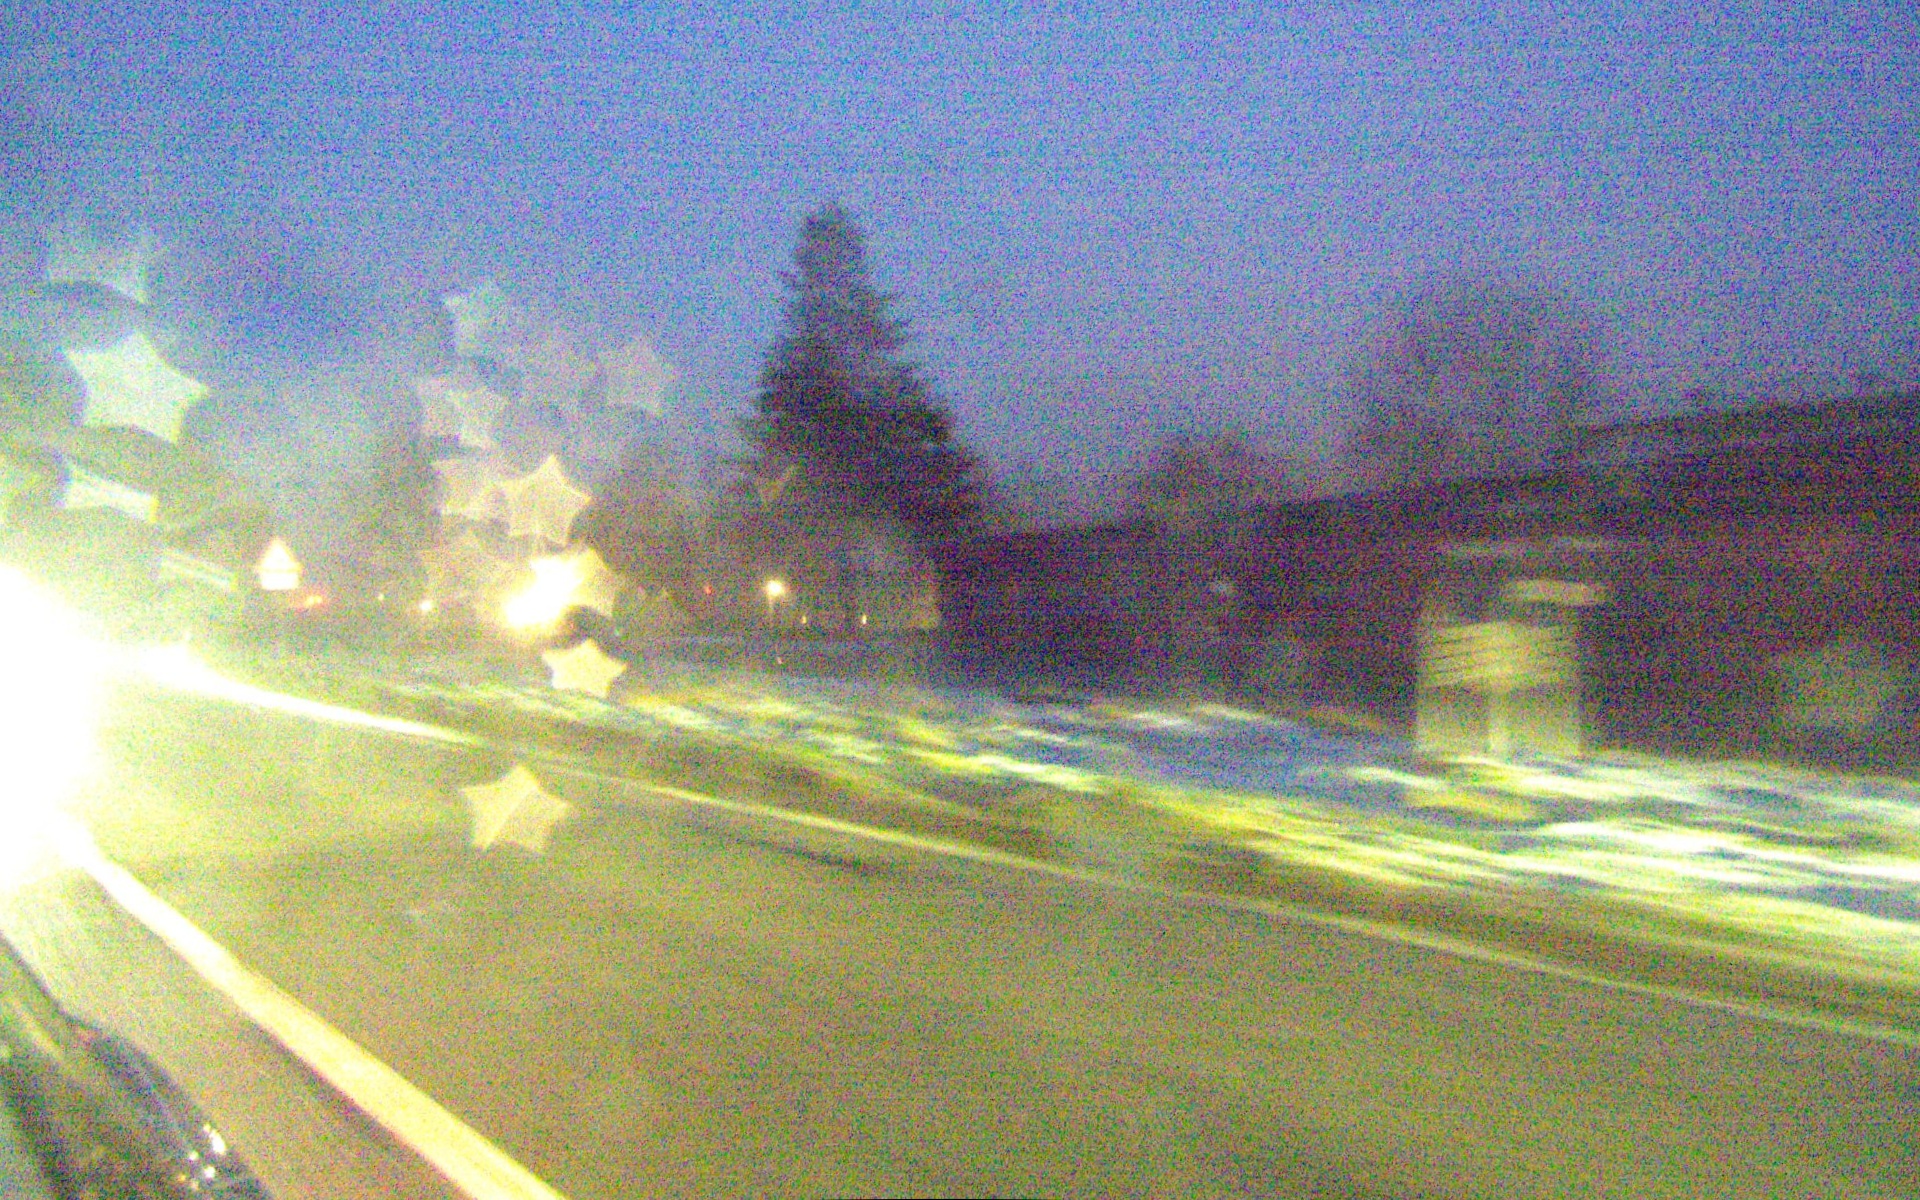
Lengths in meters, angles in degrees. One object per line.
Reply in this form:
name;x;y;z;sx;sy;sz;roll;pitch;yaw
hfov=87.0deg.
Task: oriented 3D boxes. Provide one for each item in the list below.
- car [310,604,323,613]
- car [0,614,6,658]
car;-125.820;1.646;197.816;1.710;1.554;4.013;-2;1;-28
car;-40.761;1.472;41.774;1.931;1.735;4.005;0;0;-42
